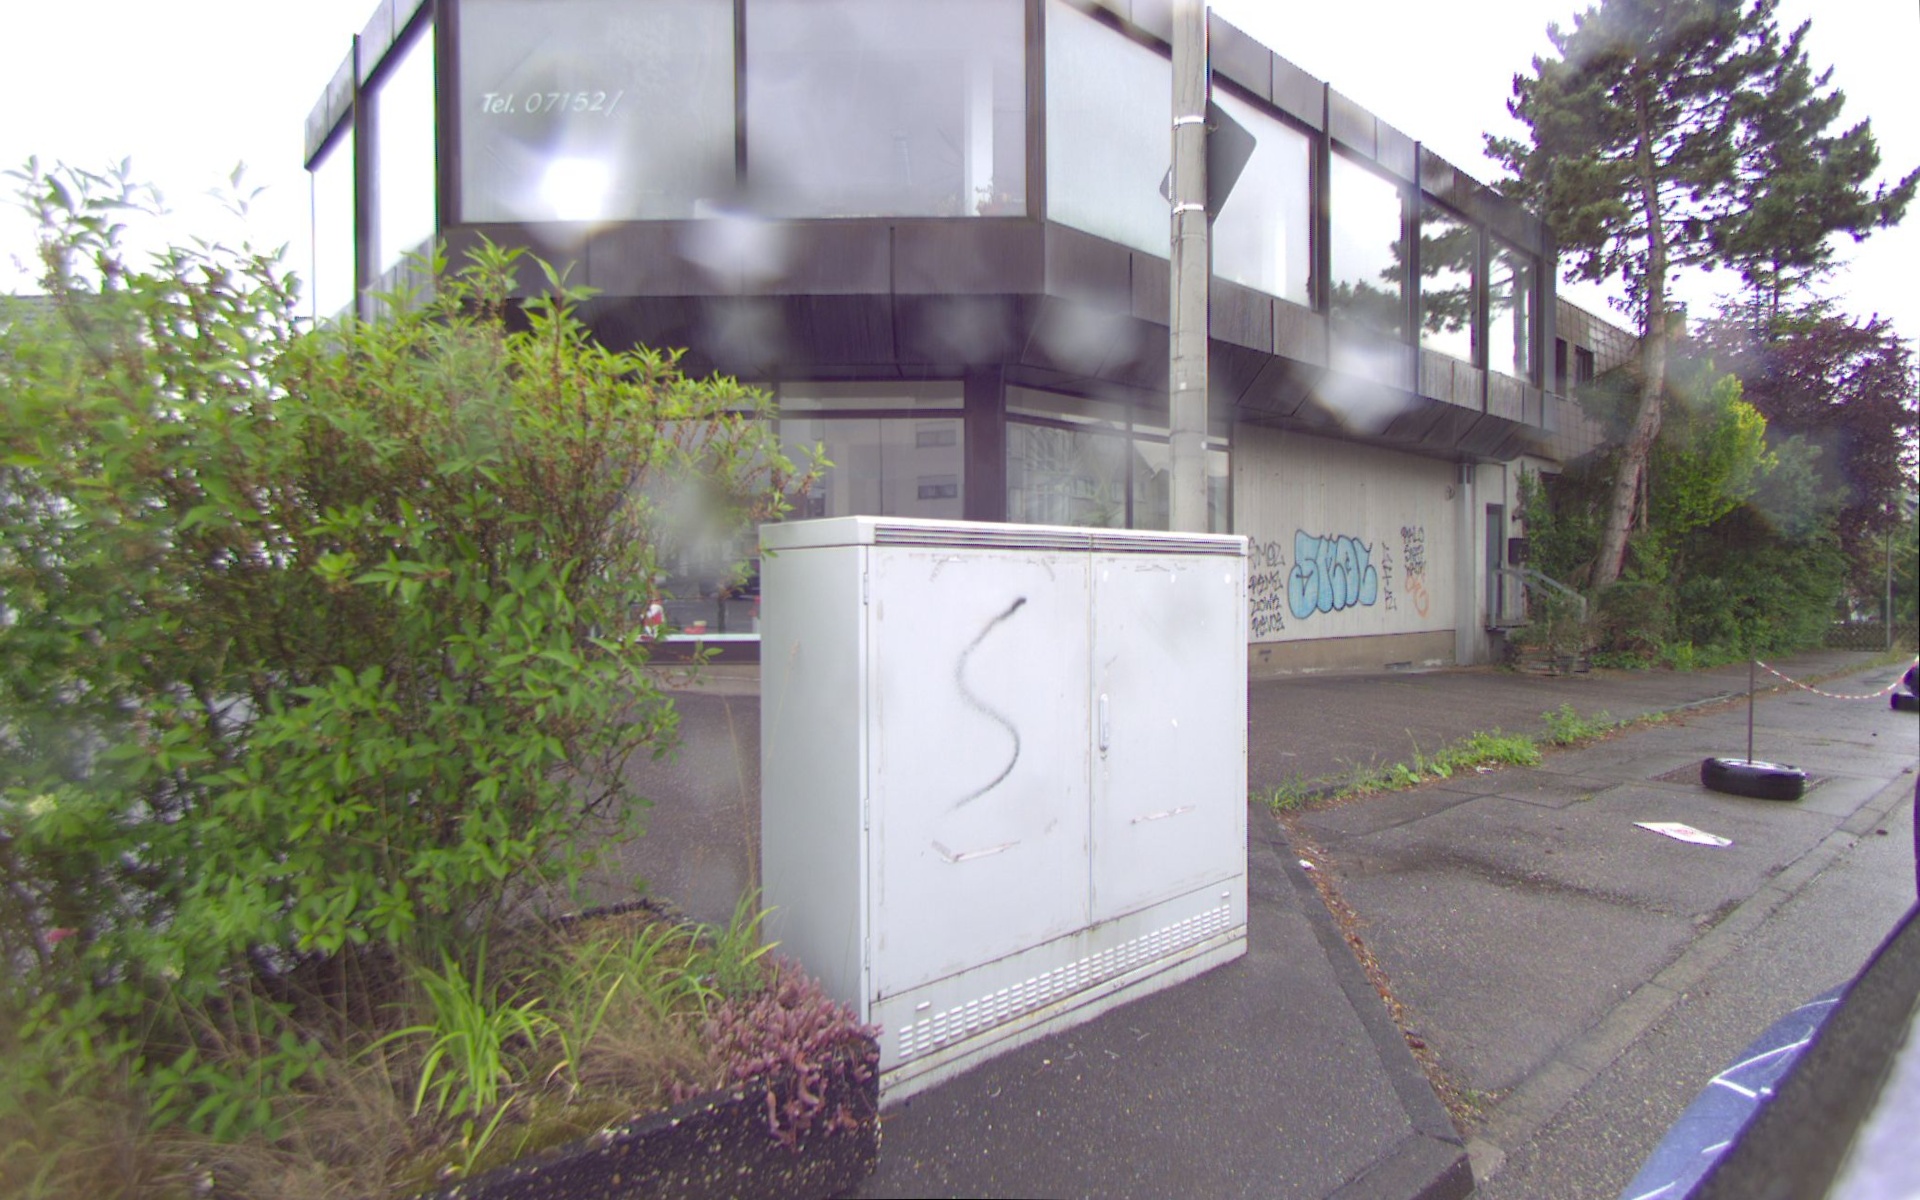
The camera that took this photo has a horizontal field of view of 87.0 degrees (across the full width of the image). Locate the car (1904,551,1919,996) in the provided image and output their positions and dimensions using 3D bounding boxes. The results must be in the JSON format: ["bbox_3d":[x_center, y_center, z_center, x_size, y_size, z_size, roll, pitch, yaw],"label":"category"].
[{"bbox_3d":[5.651,0.605,4.420,4.595,1.562,1.753,-1,1,-41],"label":"car"}]
